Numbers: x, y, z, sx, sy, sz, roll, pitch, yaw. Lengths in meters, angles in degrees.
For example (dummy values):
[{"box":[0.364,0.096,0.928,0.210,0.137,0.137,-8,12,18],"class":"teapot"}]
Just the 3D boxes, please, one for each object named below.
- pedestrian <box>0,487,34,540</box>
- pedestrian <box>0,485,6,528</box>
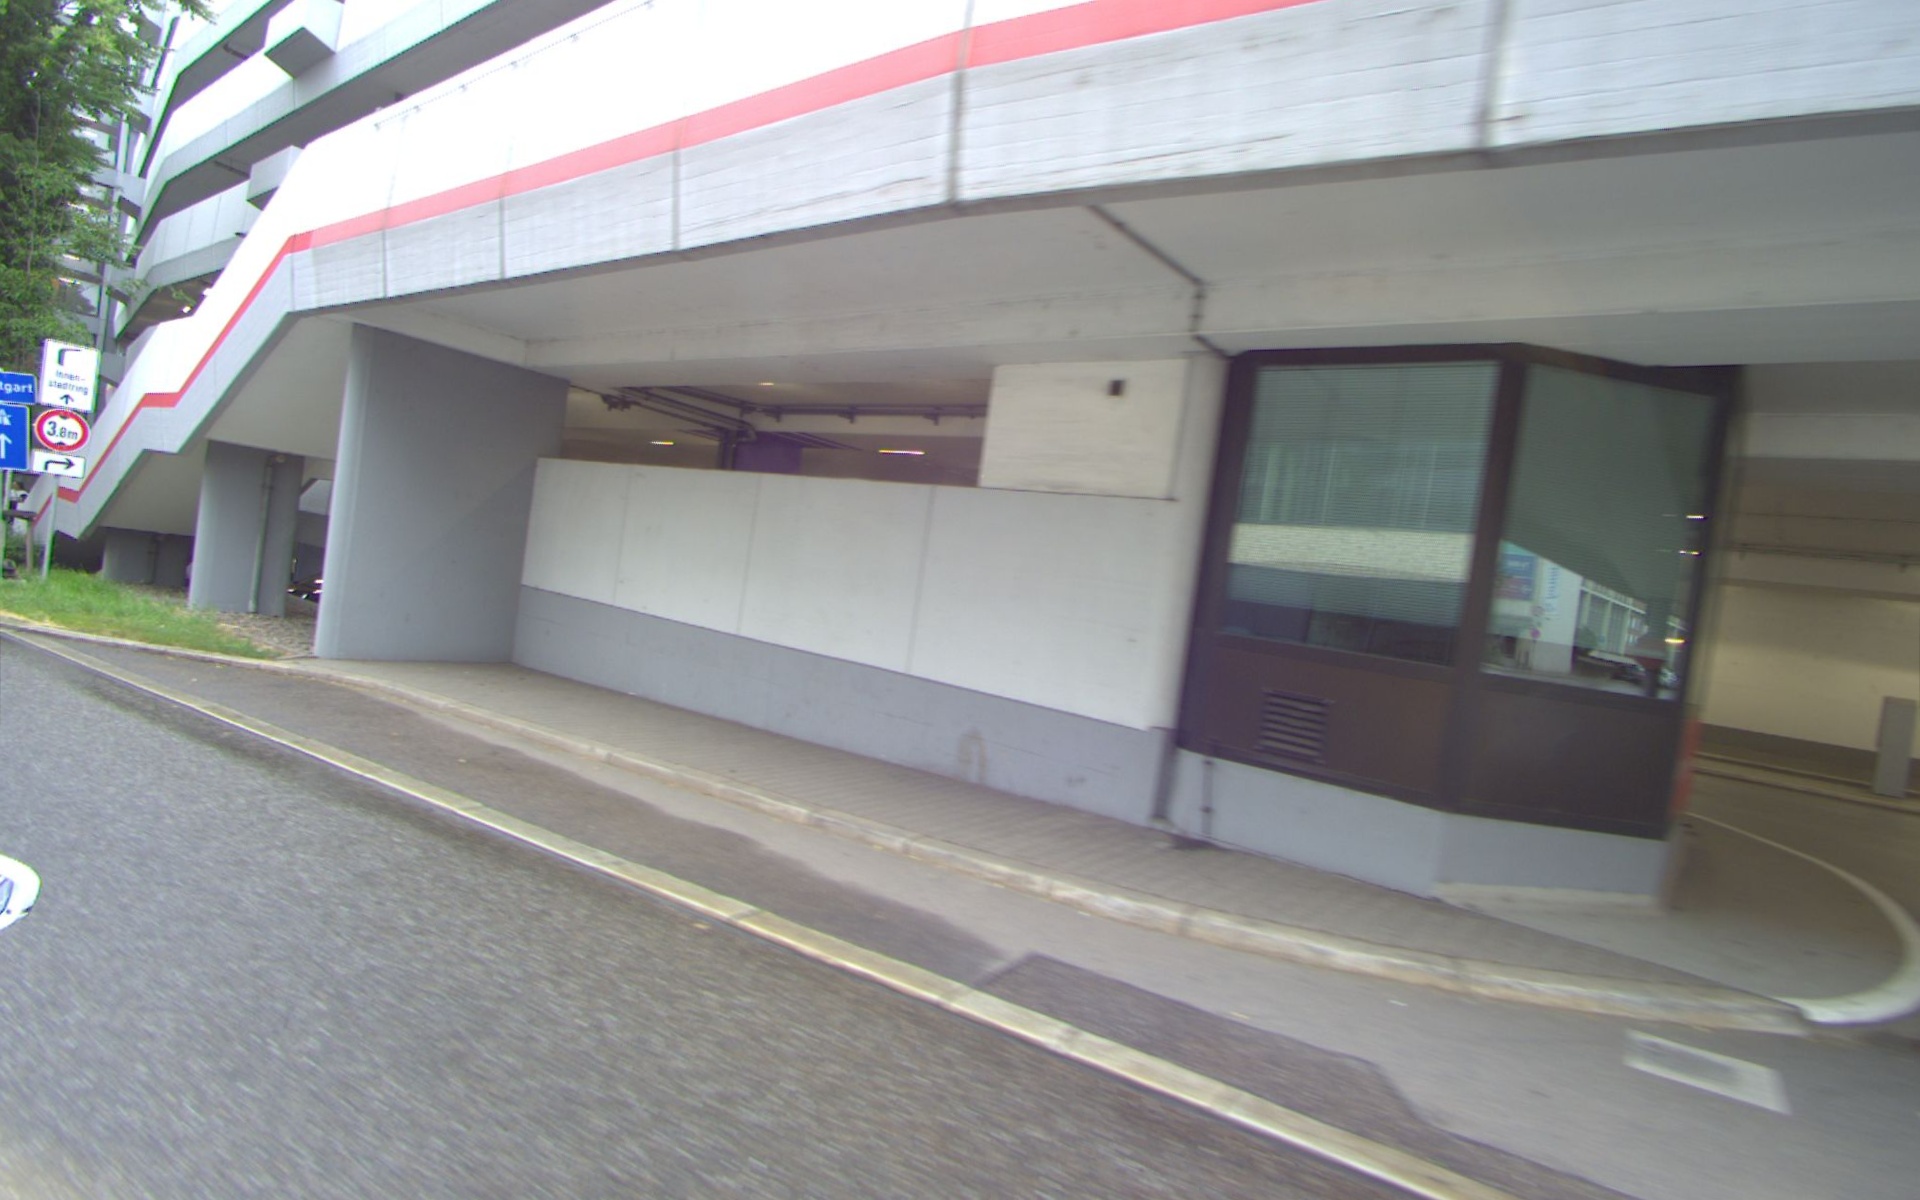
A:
[{"box":[-28.868,-2.640,30.766,0.496,1.518,0.582,6,-2,38],"class":"pedestrian"},{"box":[-29.373,-2.732,30.423,0.481,1.550,0.551,6,-2,39],"class":"pedestrian"}]
